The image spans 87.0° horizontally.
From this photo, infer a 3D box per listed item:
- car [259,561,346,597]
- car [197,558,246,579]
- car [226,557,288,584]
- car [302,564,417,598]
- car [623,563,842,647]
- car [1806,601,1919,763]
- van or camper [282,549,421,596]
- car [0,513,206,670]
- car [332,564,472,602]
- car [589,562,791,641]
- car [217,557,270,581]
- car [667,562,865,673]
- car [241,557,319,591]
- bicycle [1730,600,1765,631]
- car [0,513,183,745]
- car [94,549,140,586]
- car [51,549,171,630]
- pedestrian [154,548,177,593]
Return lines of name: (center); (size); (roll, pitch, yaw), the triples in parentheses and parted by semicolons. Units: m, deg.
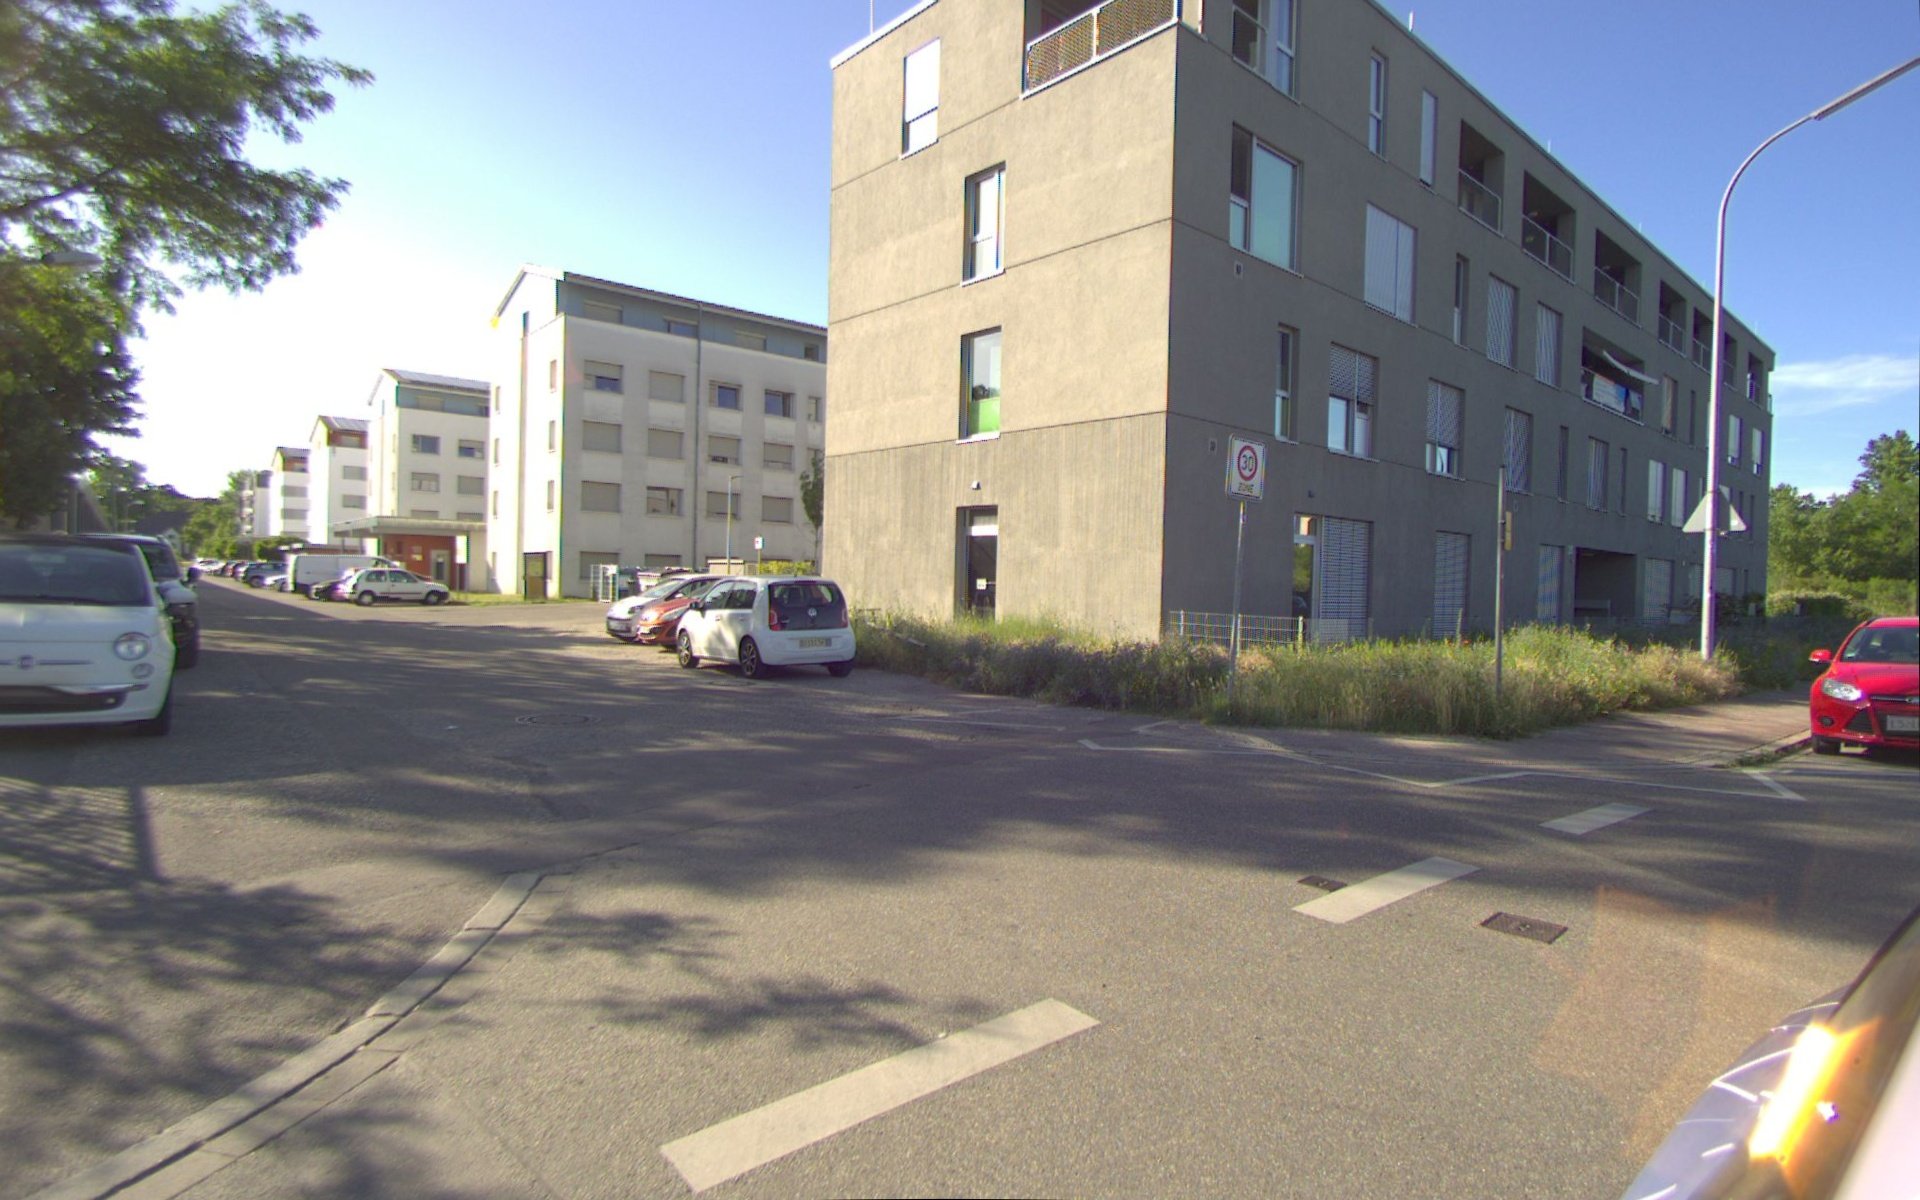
car: (-36.262, -1.152, 55.868); (3.925, 1.883, 2.000); (0, 1, -37)
car: (-73.959, -3.175, 101.365); (3.925, 2.039, 2.000); (0, 1, -37)
car: (-54.826, -2.291, 78.945); (3.925, 2.039, 2.000); (0, 1, -37)
car: (-25.665, -0.790, 43.317); (4.016, 1.366, 1.760); (0, 2, -41)
car: (-4.491, 0.082, 20.256); (3.930, 1.488, 1.696); (0, 2, -41)
car: (10.761, 0.791, 11.000); (4.376, 1.518, 1.821); (0, 1, -42)
van or camper: (-27.694, -1.224, 46.174); (5.200, 1.982, 1.999); (0, 1, -39)
car: (-10.770, -0.161, 12.815); (1.724, 1.657, 4.162); (1, 2, -40)
car: (-21.952, -0.663, 39.920); (4.521, 1.366, 1.997); (0, 2, -41)
car: (-5.877, 0.015, 22.253); (3.930, 1.539, 1.696); (0, 2, -41)
car: (-66.379, -2.861, 93.786); (3.925, 2.039, 2.000); (0, 1, -37)
car: (-3.030, 0.188, 15.369); (1.682, 1.476, 3.338); (1, 2, -36)
car: (-42.525, -1.638, 63.315); (3.925, 2.039, 2.000); (0, 1, -37)
bicycle: (28.427, 0.555, 36.535); (1.808, 1.074, 0.553); (0, 1, -38)
car: (-7.250, 0.126, 8.033); (1.572, 1.504, 3.554); (1, 2, -40)
car: (-41.316, -1.610, 49.632); (1.681, 1.689, 3.996); (0, 2, -40)
car: (-16.967, -0.251, 20.157); (1.682, 1.455, 3.993); (0, 2, -42)
pedestrian: (-30.397, -1.133, 38.708); (0.657, 1.682, 0.486); (1, 1, -41)
